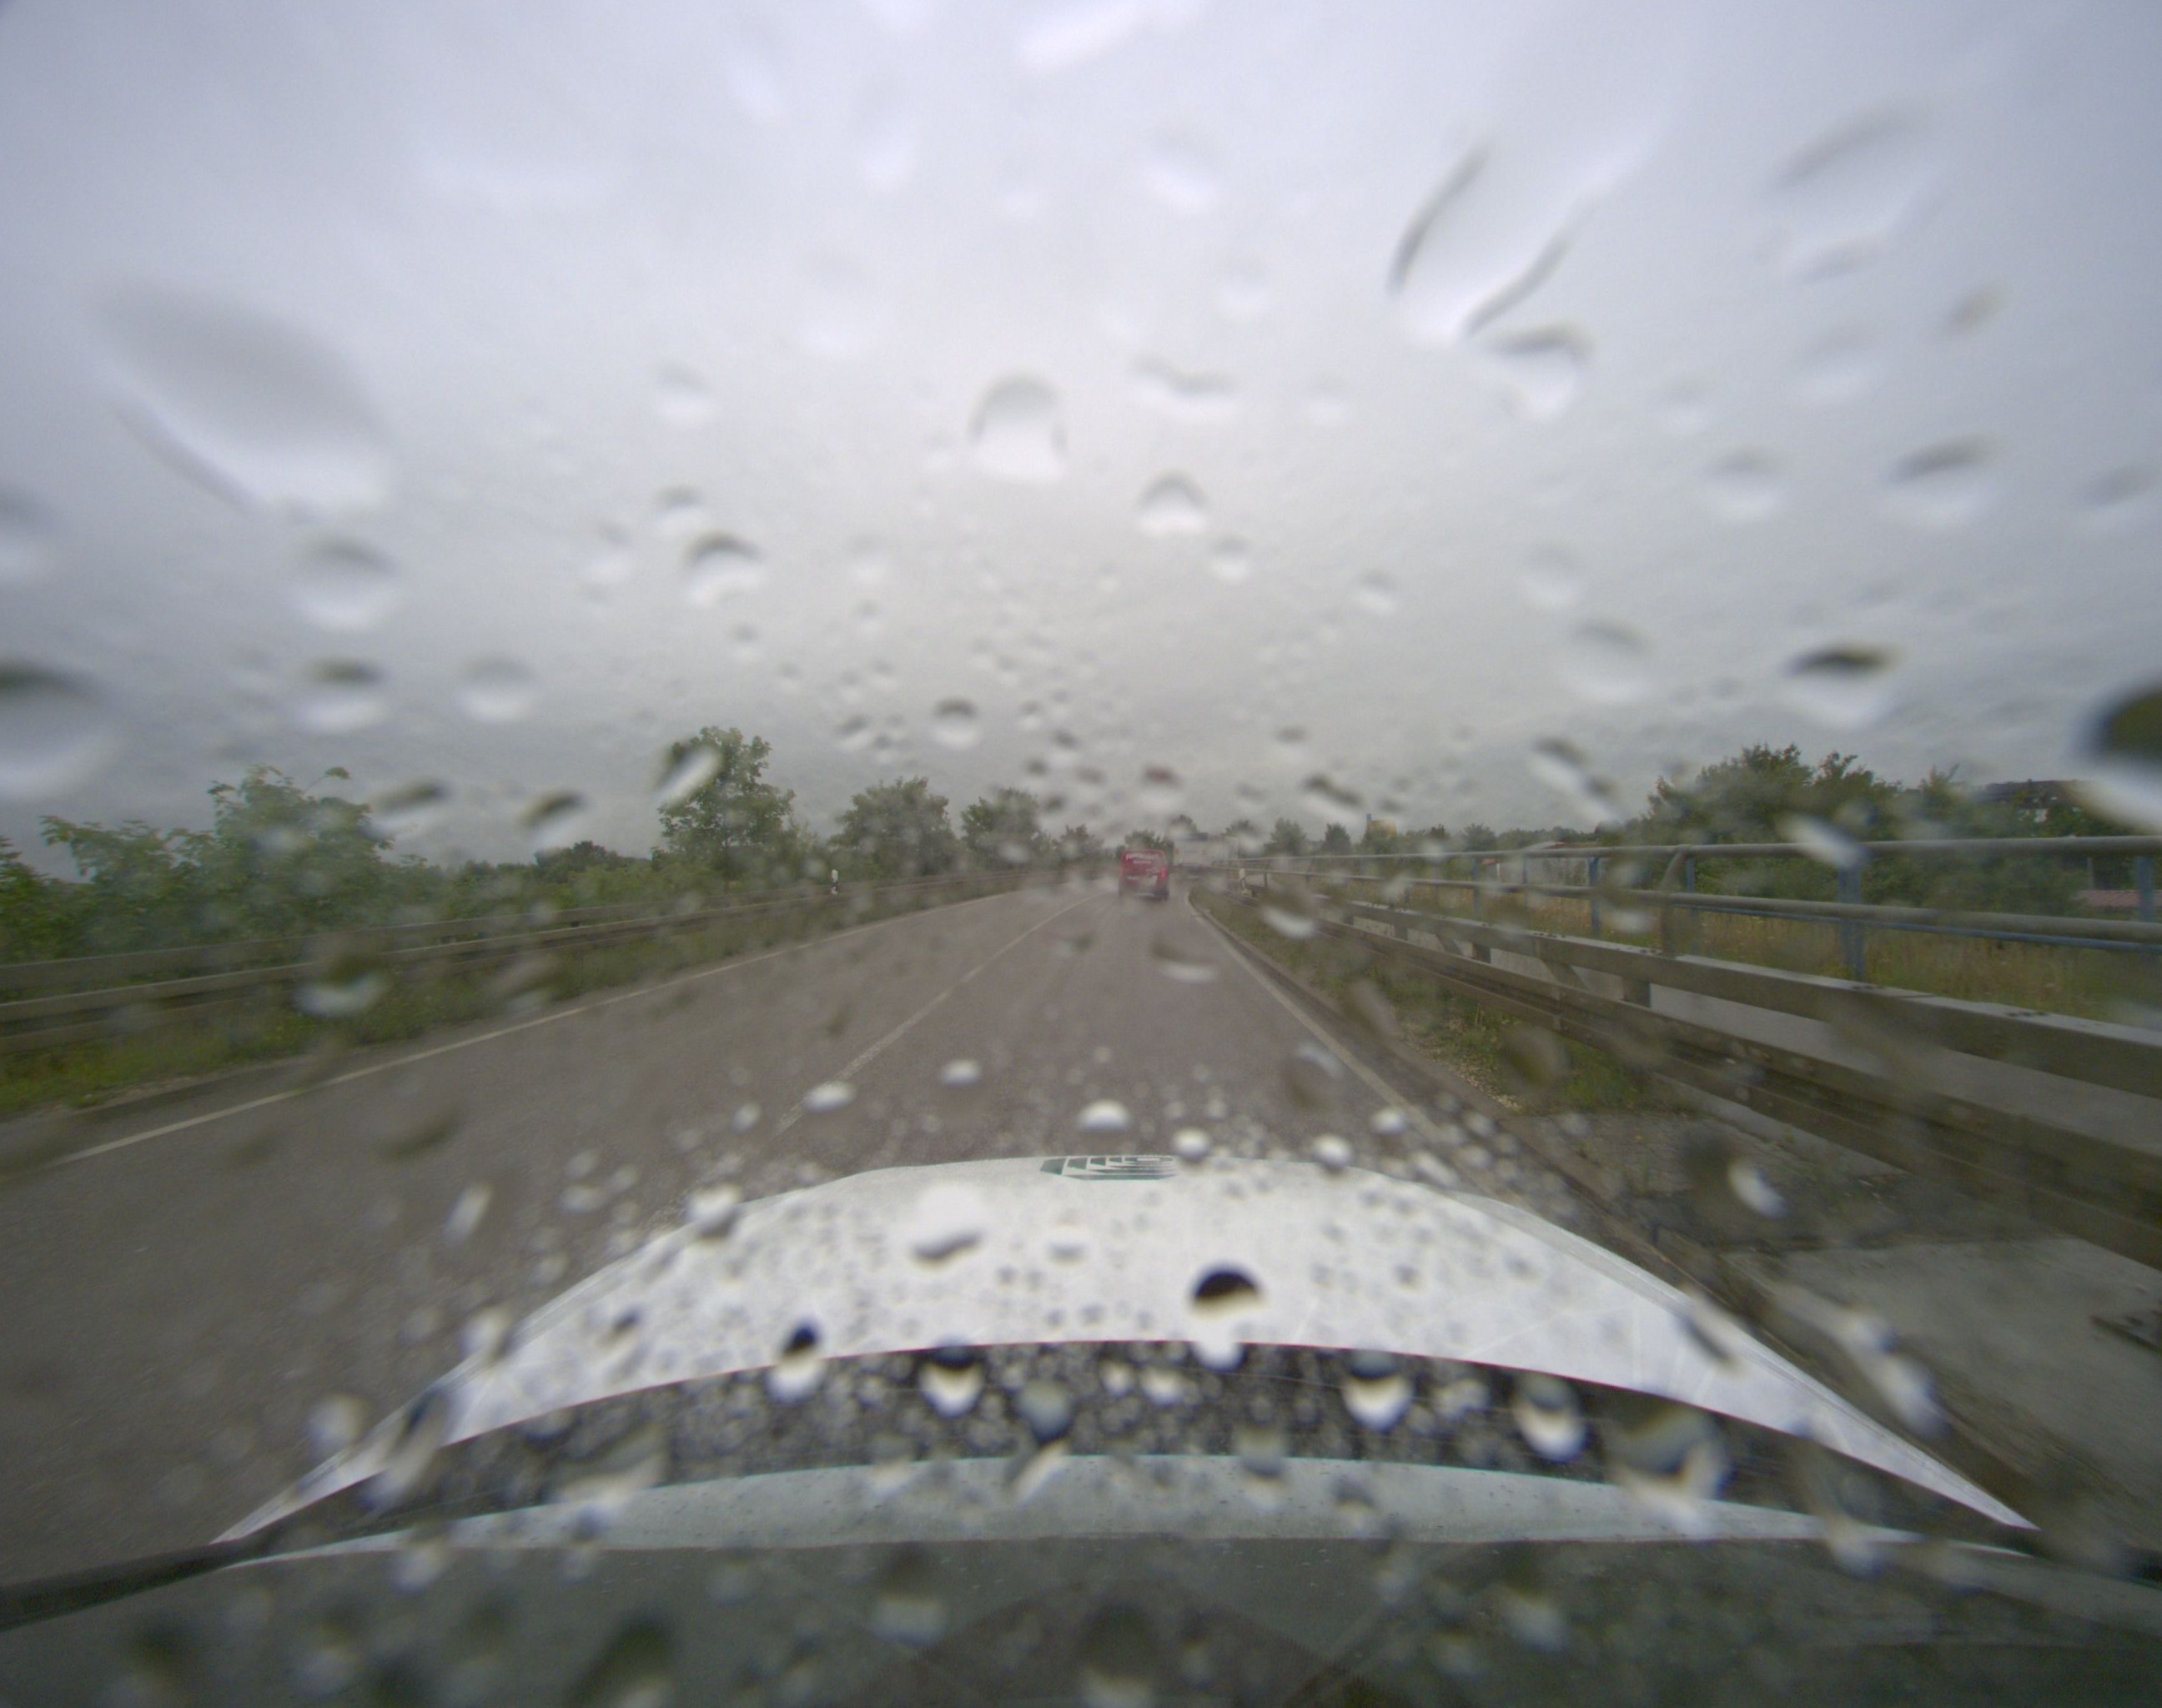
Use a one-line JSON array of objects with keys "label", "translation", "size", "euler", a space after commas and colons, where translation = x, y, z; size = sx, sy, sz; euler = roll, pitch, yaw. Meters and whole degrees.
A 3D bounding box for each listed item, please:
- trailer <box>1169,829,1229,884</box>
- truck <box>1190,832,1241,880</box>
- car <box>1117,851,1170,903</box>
[{"label": "trailer", "translation": [9.346, 0.200, 63.674], "size": [3.176, 3.922, 8.778], "euler": [1, 0, 17]}, {"label": "truck", "translation": [12.006, 0.227, 72.046], "size": [3.176, 3.922, 8.778], "euler": [1, 0, 17]}, {"label": "car", "translation": [2.515, 0.861, 32.435], "size": [1.984, 1.926, 4.149], "euler": [0, 0, 5]}]
